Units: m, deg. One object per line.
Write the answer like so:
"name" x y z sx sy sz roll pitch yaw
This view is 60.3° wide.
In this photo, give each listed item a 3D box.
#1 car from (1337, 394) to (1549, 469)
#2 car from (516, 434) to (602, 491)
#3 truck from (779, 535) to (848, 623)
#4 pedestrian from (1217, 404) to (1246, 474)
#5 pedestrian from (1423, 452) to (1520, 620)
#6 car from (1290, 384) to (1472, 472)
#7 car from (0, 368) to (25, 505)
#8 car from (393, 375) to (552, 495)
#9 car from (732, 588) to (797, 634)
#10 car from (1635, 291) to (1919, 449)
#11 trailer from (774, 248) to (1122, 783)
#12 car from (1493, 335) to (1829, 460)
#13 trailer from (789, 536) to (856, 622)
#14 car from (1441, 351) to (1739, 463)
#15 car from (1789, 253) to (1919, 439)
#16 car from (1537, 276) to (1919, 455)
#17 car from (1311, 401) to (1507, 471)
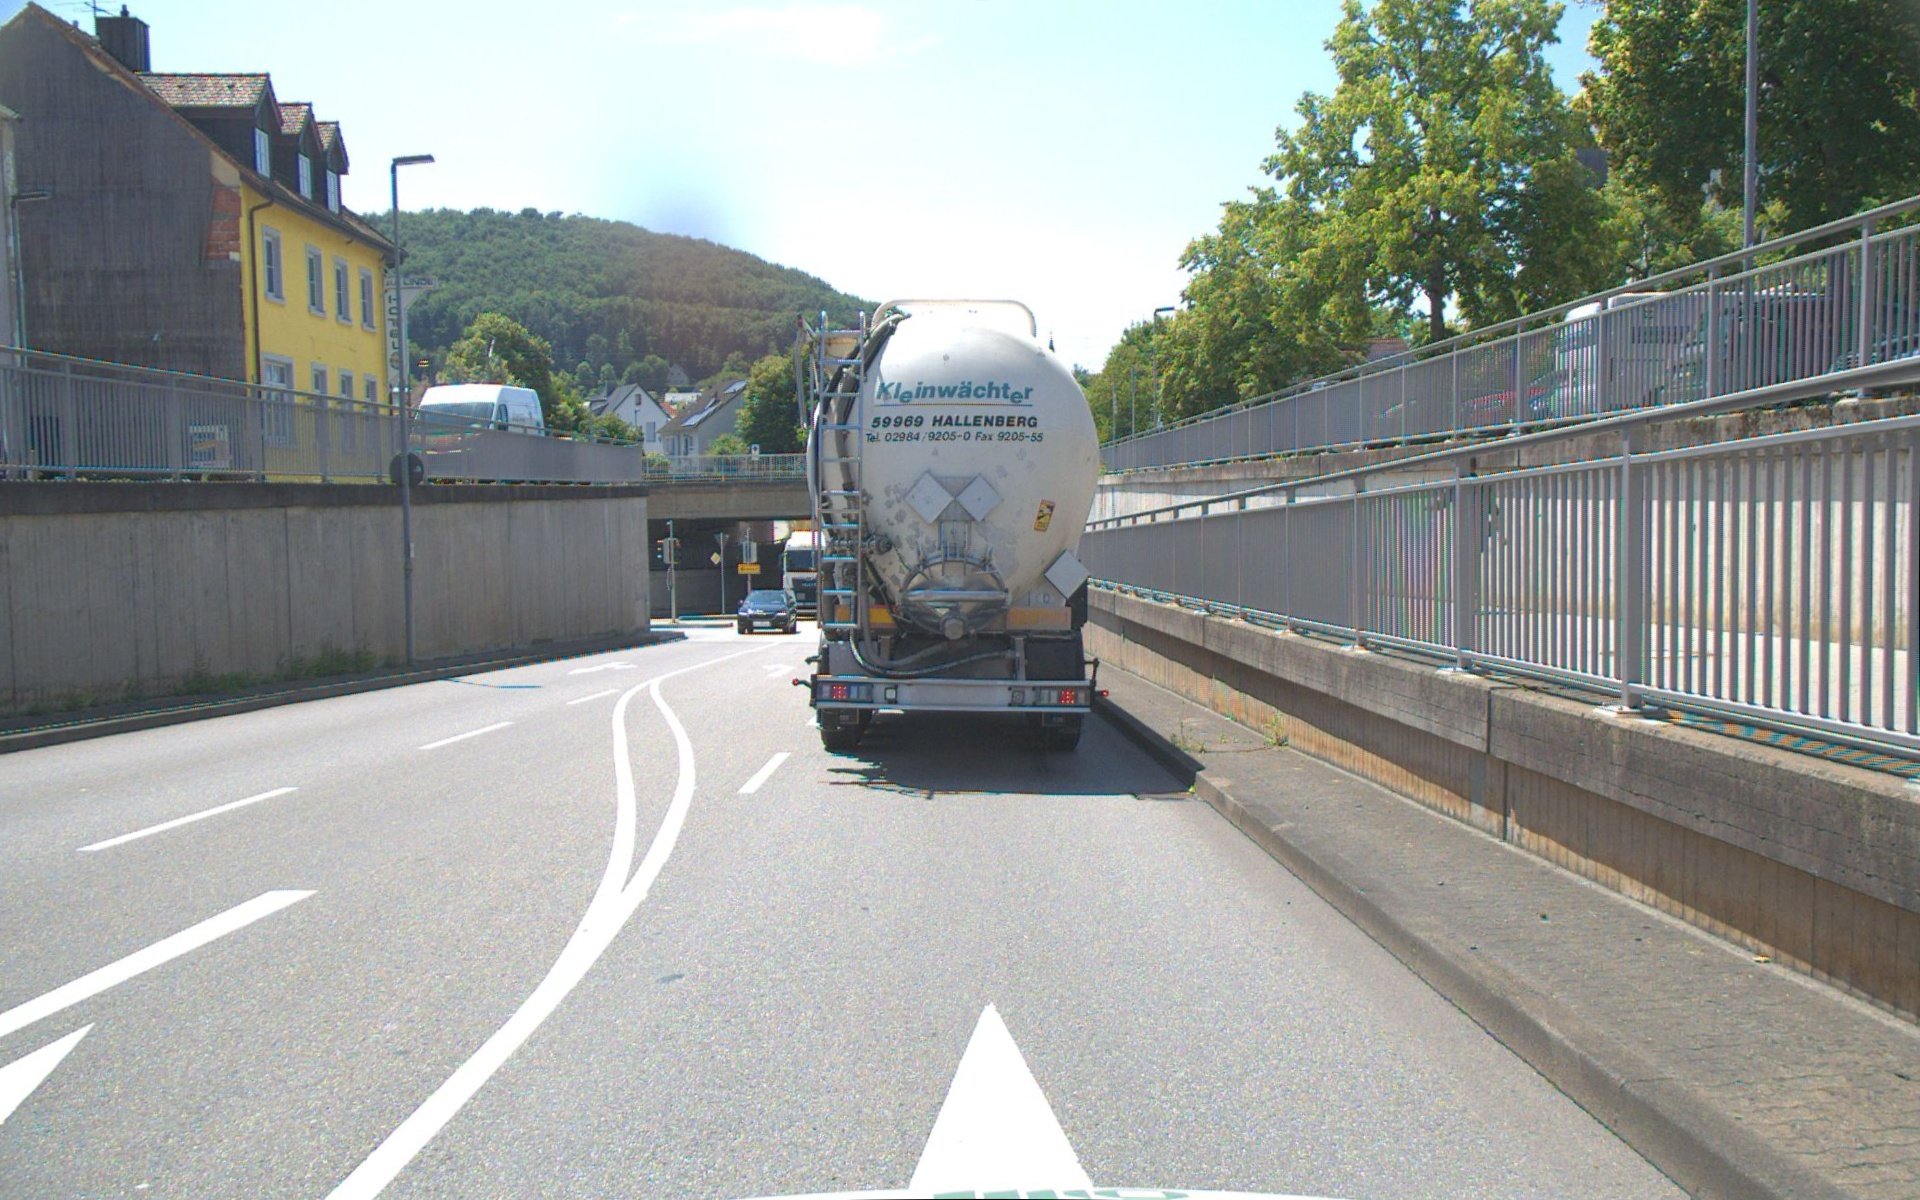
"car" 9.780 -3.416 33.660 3.825 1.391 1.687 -1 3 0
"car" -11.602 -3.958 48.067 1.586 1.526 4.045 1 3 -1
"truck" -6.766 -0.955 77.161 2.607 3.928 6.580 0 0 0
"pedestrian" 7.212 -4.272 43.976 0.659 1.810 0.594 -1 3 0
"pedestrian" 5.679 -0.709 18.400 0.819 1.813 0.788 -1 1 0
"car" 9.764 -3.979 38.530 3.825 1.917 1.687 -1 3 0
"car" -11.302 -1.682 16.360 1.777 1.487 4.309 1 4 -3
"car" -11.333 -3.778 38.941 2.023 2.580 5.664 1 3 0
"car" -6.709 0.357 57.118 1.724 1.515 4.368 0 0 0
"car" 10.094 -2.589 18.851 4.118 1.623 1.687 -1 3 0
"trailer" -0.042 -0.704 19.511 2.679 4.135 13.313 0 0 0
"car" 9.987 -2.879 23.772 4.118 1.623 1.687 -1 3 0
"trailer" -6.737 -1.011 82.145 2.556 4.033 9.346 0 0 0
"car" 9.969 -3.048 26.375 4.118 1.623 1.687 -1 3 0
"car" 10.115 -2.304 15.120 4.197 1.524 1.749 -1 3 0
"car" 10.371 -3.016 21.590 5.007 2.099 1.989 -1 3 0
"car" 9.752 -3.569 36.099 3.825 1.391 1.687 -1 3 0
